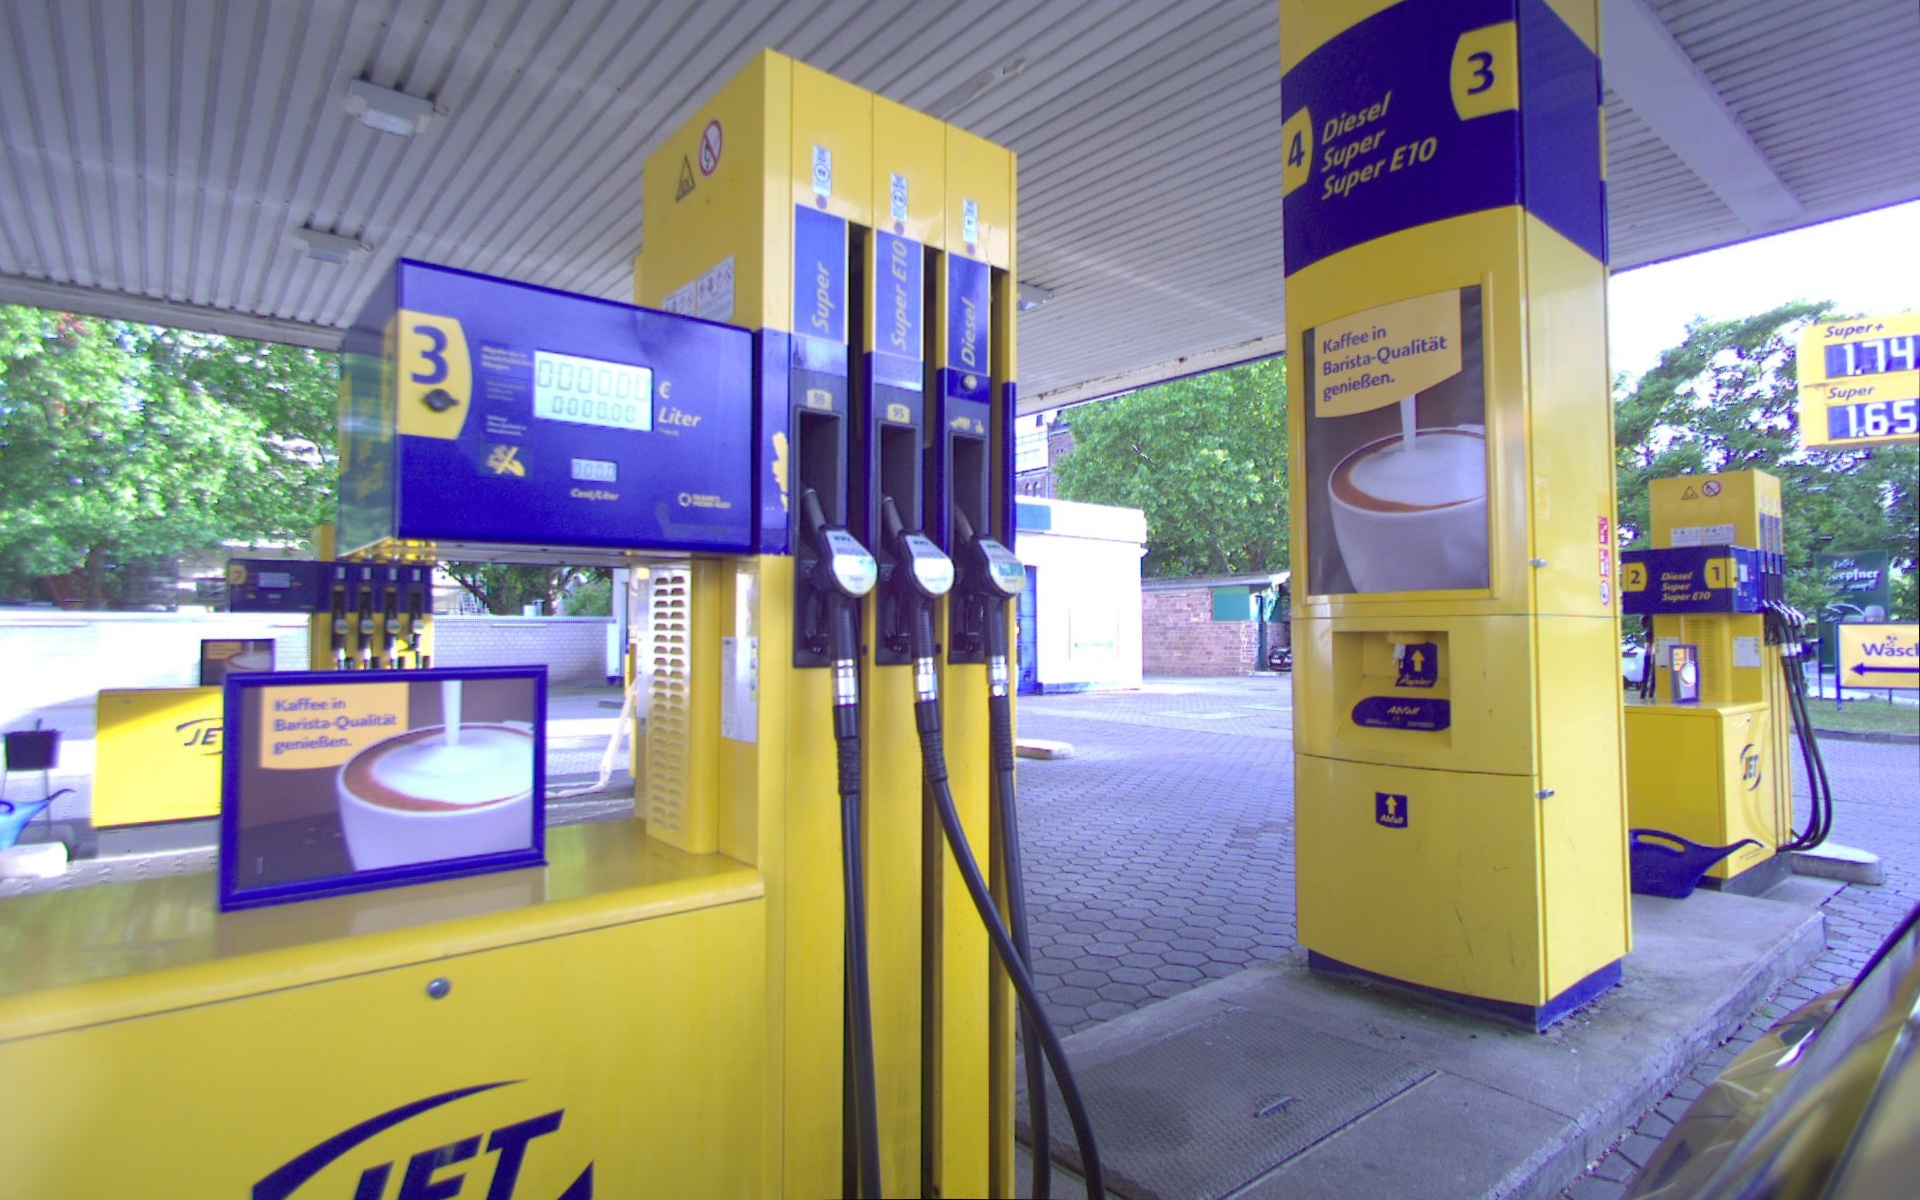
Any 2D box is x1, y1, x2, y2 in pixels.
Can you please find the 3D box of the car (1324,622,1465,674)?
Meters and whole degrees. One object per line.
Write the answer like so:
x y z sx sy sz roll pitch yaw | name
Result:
13.797 1.541 32.152 4.134 1.544 1.791 2 -3 -24 | car

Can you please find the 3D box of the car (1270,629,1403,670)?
12.838 1.692 34.501 4.134 1.294 1.751 2 -3 -22 | car

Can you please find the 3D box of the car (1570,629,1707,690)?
18.229 1.557 27.165 3.923 1.529 1.740 2 -3 -35 | car

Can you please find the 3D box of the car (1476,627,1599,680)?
17.564 1.635 30.753 3.923 1.529 1.740 3 -3 -35 | car

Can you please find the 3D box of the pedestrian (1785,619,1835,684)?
27.582 1.647 32.854 0.923 2.040 1.205 0 -2 25 | pedestrian
